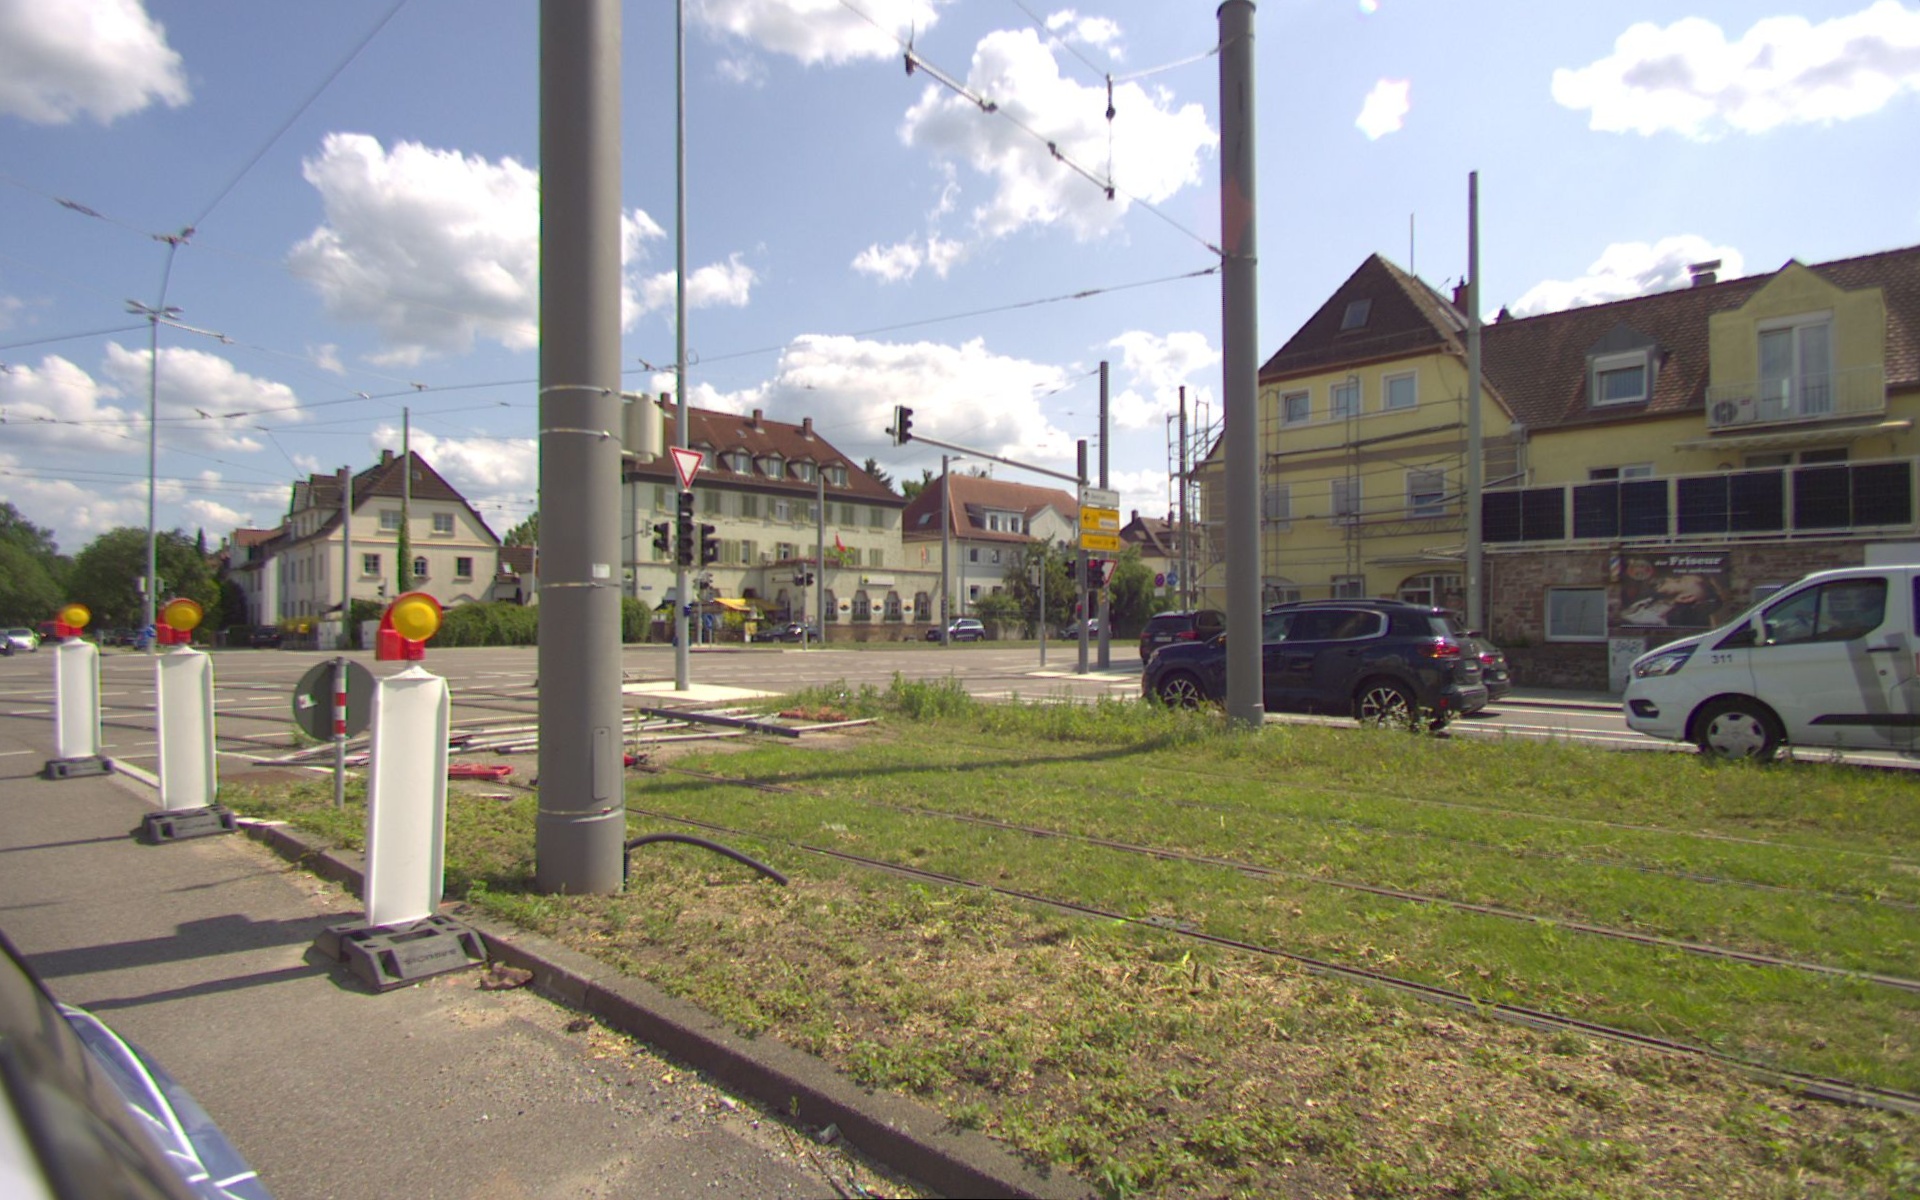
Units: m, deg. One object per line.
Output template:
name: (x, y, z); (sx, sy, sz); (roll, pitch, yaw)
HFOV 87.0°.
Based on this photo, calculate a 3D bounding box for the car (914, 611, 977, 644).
car: (-0.878, 1.698, 62.912); (1.905, 2.029, 3.661); (-1, -1, 44)

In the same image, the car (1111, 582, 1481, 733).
car: (4.429, 0.733, 13.796); (4.438, 1.734, 1.768); (-2, -2, 41)

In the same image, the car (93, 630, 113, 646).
car: (-88.814, 3.918, 104.936); (1.539, 1.667, 3.256); (1, -2, -39)

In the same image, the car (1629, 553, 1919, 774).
car: (9.174, 0.569, 9.439); (4.743, 1.936, 1.796); (-1, -2, 39)

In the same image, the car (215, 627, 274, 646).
car: (-57.962, 2.926, 81.980); (3.748, 1.465, 1.714); (1, -2, -40)

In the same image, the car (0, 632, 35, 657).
car: (-58.560, 2.755, 62.758); (1.684, 1.473, 3.158); (1, -2, -42)

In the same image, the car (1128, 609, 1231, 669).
car: (6.396, 1.079, 29.196); (1.178, 1.504, 4.094); (-1, 0, 39)

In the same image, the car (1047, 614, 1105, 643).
car: (8.395, 2.050, 73.116); (3.938, 2.029, 2.003); (1, -2, -41)

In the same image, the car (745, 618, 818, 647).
car: (-10.154, 1.833, 57.772); (1.747, 1.596, 3.869); (-2, -2, 43)

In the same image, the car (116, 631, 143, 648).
car: (-68.904, 3.258, 83.925); (1.683, 1.306, 3.924); (1, -2, -39)

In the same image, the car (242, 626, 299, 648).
car: (-45.467, 2.433, 66.798); (1.733, 1.397, 4.112); (0, -2, -13)

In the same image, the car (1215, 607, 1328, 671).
car: (8.539, 1.013, 27.532); (1.505, 1.504, 4.094); (-1, 0, 39)

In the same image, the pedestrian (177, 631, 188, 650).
pedestrian: (-63.151, 3.275, 82.197); (0.618, 1.547, 0.623); (-2, -2, 44)

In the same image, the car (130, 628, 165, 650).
car: (-56.792, 2.734, 70.692); (1.685, 1.473, 3.158); (1, -2, -43)

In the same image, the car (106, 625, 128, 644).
car: (-78.127, 3.195, 93.849); (1.539, 1.667, 3.579); (1, -2, -39)
